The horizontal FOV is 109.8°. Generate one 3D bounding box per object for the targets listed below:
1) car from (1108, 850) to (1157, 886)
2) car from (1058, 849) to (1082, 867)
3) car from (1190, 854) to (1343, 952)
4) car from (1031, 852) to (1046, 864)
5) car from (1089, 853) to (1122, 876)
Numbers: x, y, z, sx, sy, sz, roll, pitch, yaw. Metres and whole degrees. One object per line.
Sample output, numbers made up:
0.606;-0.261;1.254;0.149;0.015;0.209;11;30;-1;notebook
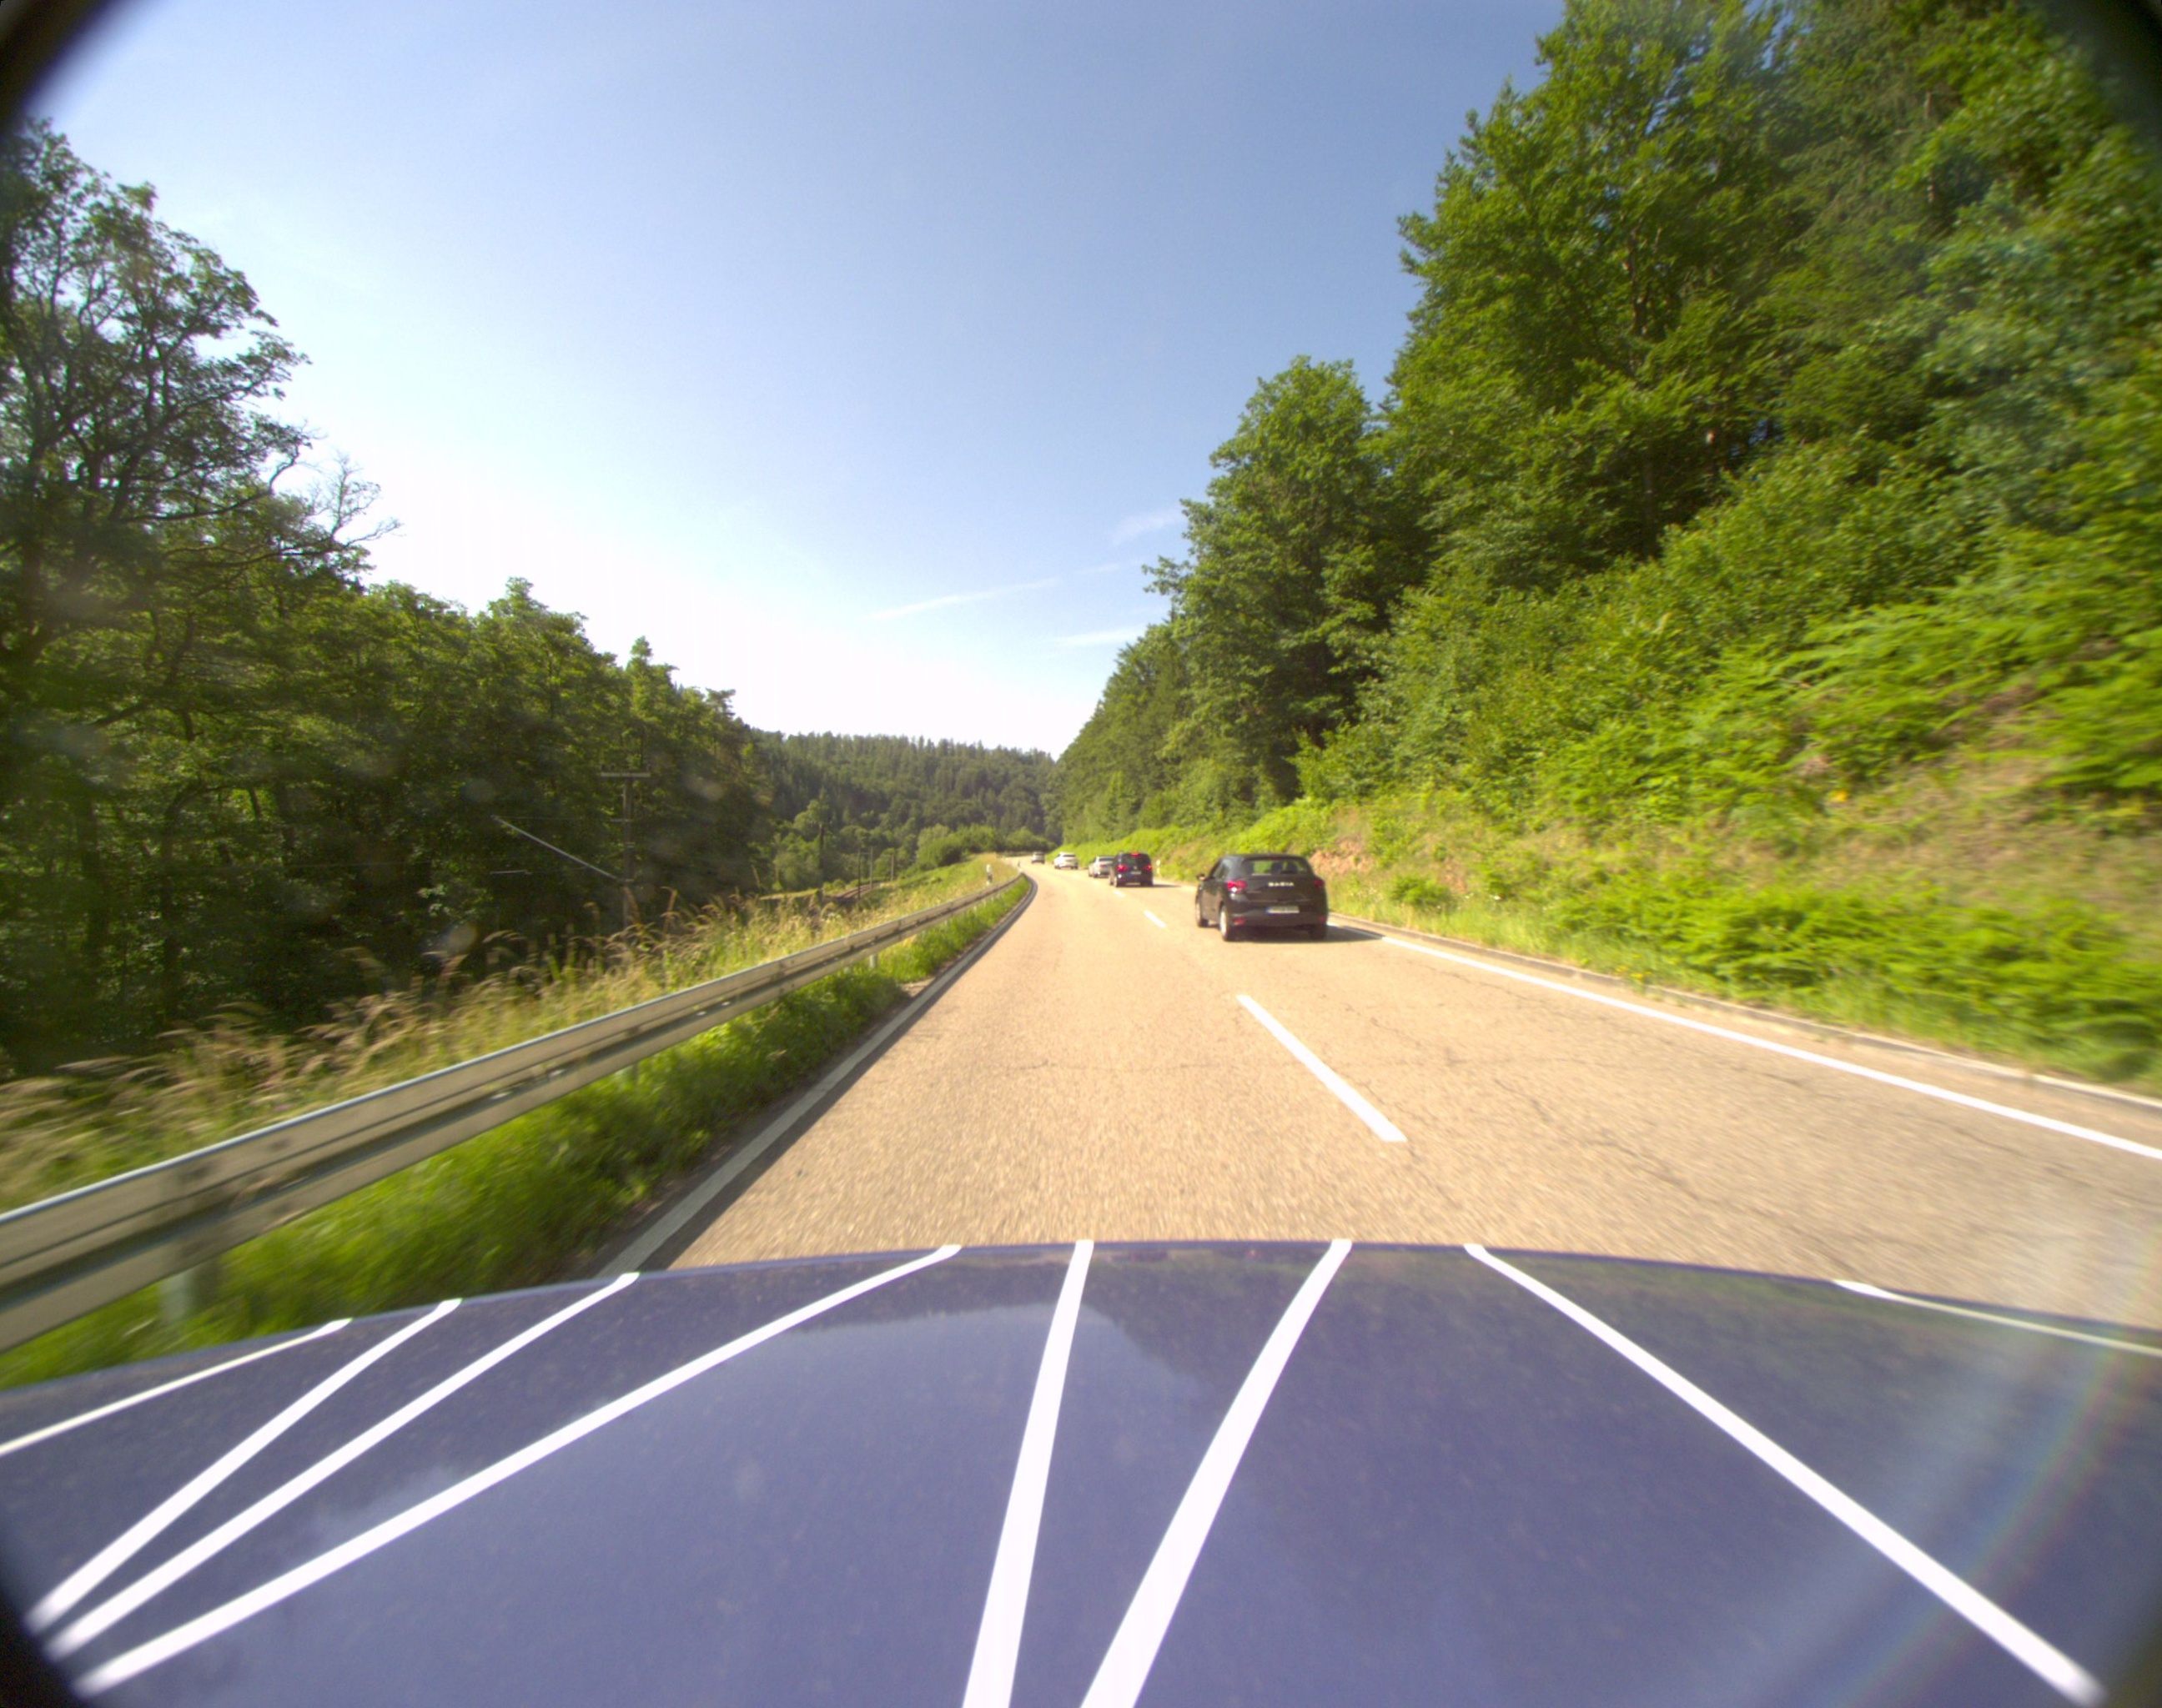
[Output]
2.416;0.652;36.383;1.837;1.619;4.351;0;0;-3;car
-1.149;0.433;75.829;1.999;1.672;4.903;-2;0;-6;car
3.258;0.785;14.138;1.862;1.520;3.999;0;0;0;car
-6.064;0.581;107.679;1.873;1.614;4.471;-4;0;-6;car
1.565;0.681;50.512;1.838;1.422;4.676;-1;0;-3;car
